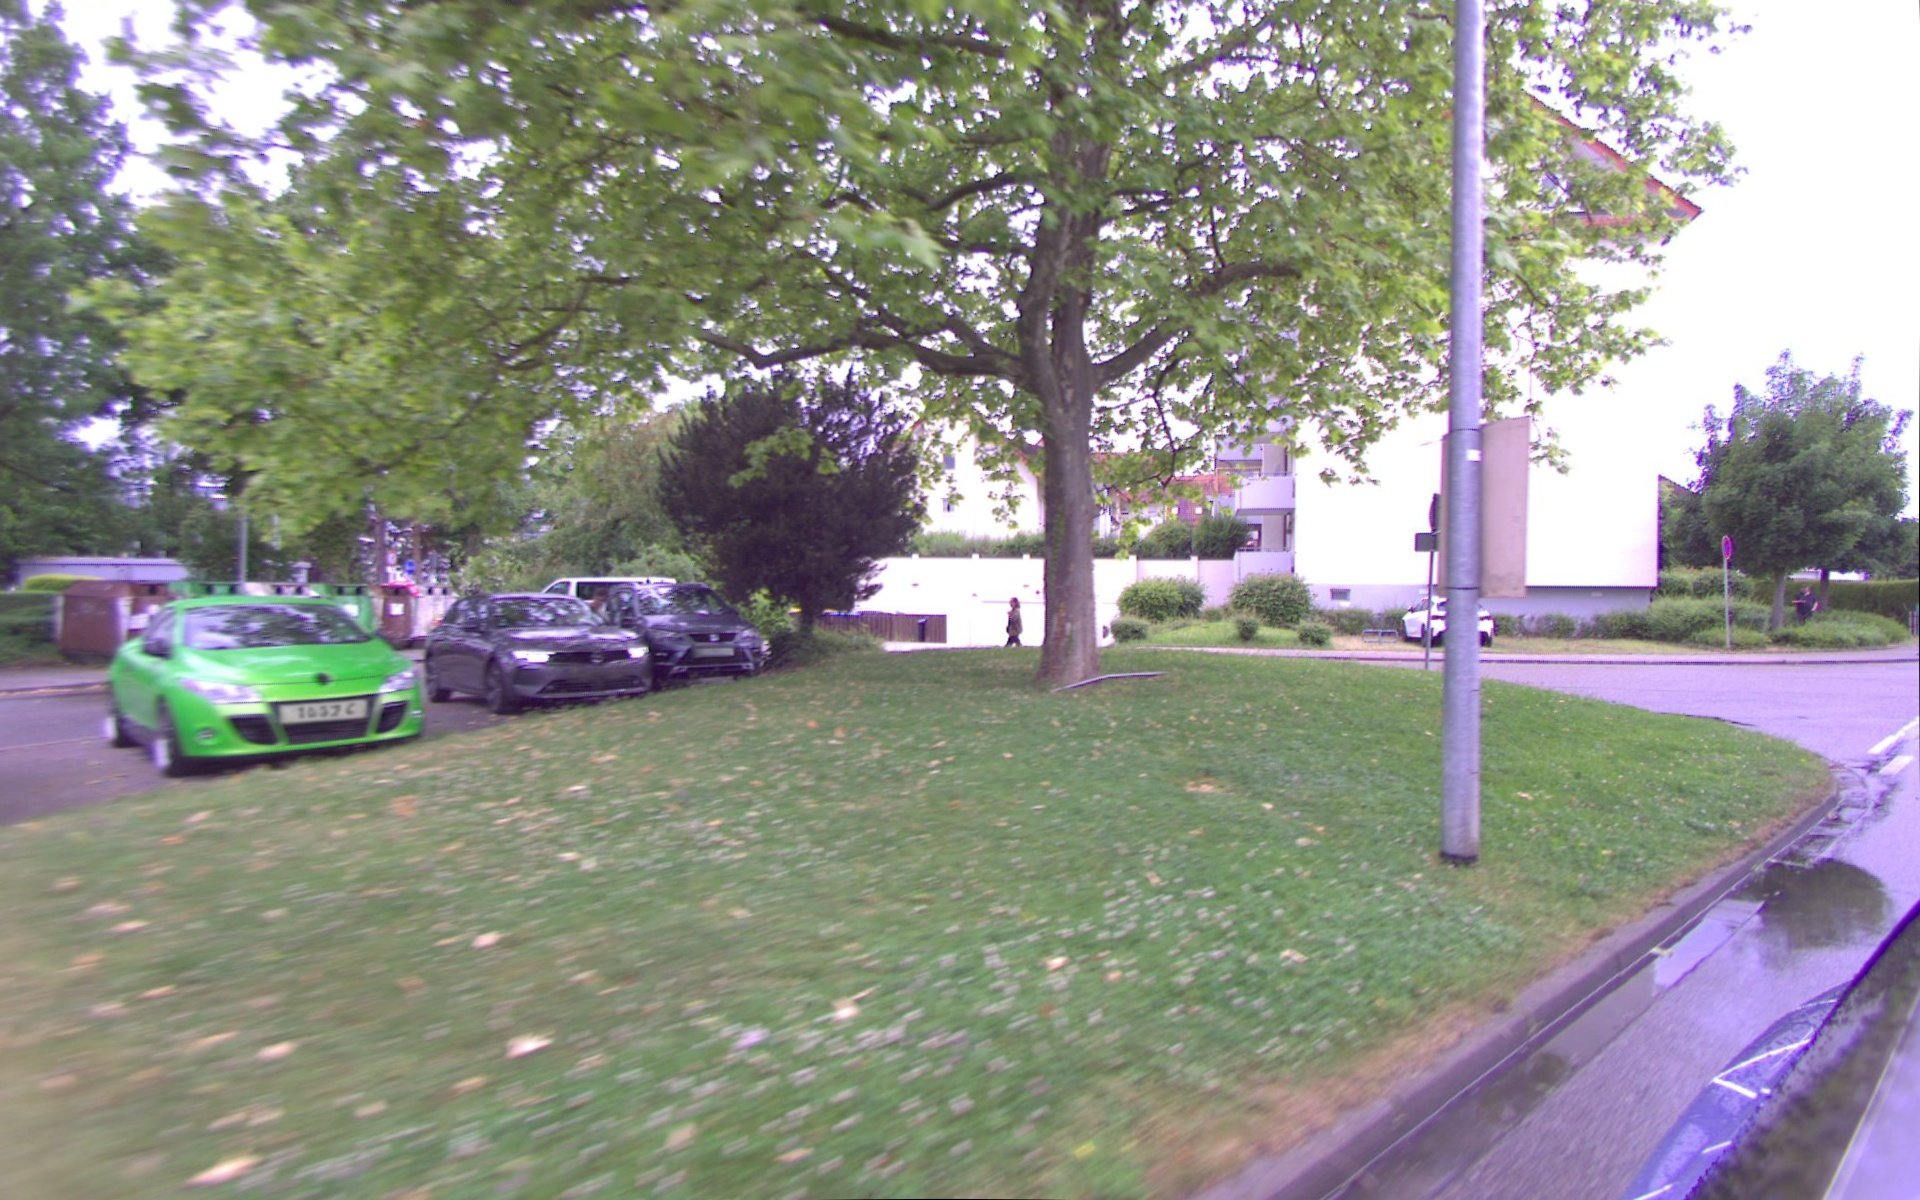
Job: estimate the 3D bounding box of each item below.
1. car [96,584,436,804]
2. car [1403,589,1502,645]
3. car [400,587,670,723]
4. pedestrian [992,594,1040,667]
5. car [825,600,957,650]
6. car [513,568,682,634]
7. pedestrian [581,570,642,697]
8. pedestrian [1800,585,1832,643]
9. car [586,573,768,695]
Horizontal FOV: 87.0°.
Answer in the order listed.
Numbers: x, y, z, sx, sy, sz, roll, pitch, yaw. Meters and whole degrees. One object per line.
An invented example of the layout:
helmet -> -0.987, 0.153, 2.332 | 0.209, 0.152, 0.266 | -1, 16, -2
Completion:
car -> -6.287, 0.619, 8.978 | 4.010, 1.461, 1.736 | 2, 1, 44
car -> 14.430, 0.444, 29.856 | 1.720, 1.499, 3.755 | 1, 1, 12
car -> -5.499, 0.565, 12.846 | 4.010, 1.388, 1.736 | 2, 1, 44
pedestrian -> 1.245, 0.661, 22.603 | 0.931, 1.603, 0.739 | 0, 0, -8
car -> -2.741, 0.951, 40.364 | 4.862, 1.846, 1.992 | 1, 0, 17
car -> -11.804, 0.007, 33.015 | 4.928, 2.039, 2.075 | 1, 0, 17
pedestrian -> -4.740, 0.435, 13.747 | 0.576, 1.673, 0.740 | 1, 0, -37
pedestrian -> 26.934, 0.435, 31.839 | 0.609, 1.795, 0.665 | 0, 0, 26
car -> -4.583, 0.416, 15.950 | 1.729, 1.647, 4.299 | 0, 1, -30
